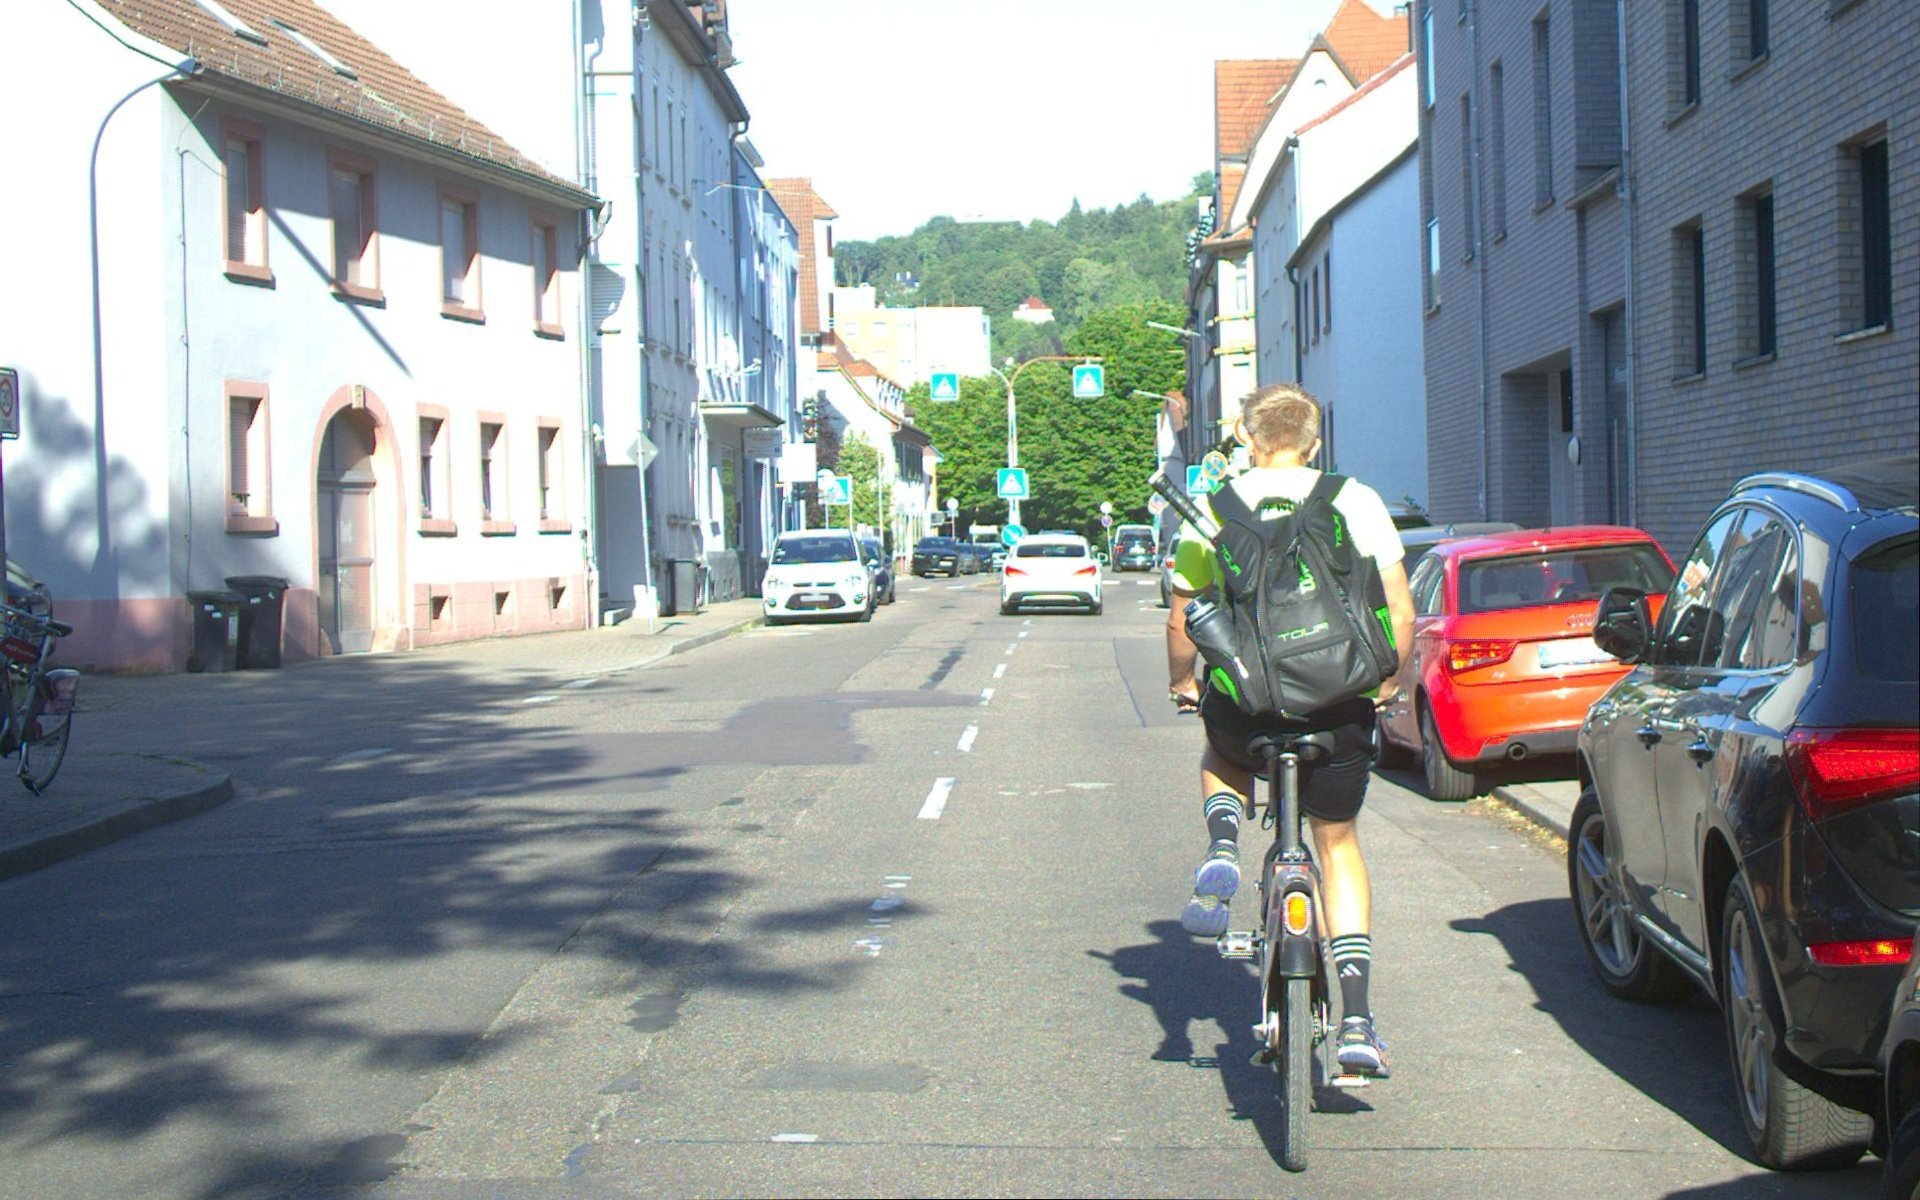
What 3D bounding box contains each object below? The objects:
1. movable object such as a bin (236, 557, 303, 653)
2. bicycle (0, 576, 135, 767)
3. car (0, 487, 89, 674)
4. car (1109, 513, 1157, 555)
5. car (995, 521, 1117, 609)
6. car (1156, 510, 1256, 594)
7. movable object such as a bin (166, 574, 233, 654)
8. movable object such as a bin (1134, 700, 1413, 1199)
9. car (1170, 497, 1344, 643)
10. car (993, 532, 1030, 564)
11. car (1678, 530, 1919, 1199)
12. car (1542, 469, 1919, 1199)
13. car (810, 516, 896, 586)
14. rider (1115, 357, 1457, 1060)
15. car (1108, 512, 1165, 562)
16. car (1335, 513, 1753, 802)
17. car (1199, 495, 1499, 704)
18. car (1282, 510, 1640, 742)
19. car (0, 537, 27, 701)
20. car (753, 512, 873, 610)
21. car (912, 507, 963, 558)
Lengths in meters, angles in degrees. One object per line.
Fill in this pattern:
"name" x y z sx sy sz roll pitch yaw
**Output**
"movable object such as a bin" -7.916 0.051 39.434 0.598 1.090 0.751 0 1 2
"bicycle" -5.335 0.378 19.505 0.704 0.999 1.941 0 1 4
"car" -11.575 -0.309 35.936 4.363 1.788 1.988 3 4 3
"car" 7.197 -2.764 142.543 1.818 1.625 4.000 -2 2 4
"car" 1.670 -0.636 60.926 1.993 1.461 4.000 -1 1 -1
"car" 4.728 -0.946 66.469 1.741 1.487 4.439 -2 1 3
"movable object such as a bin" -8.522 0.148 38.543 0.598 0.869 0.606 -1 1 0
"movable object such as a bin" 0.722 0.791 8.330 0.454 1.029 1.840 2 0 -1
"car" 3.670 -0.427 43.106 1.855 1.630 4.623 -3 2 2
"car" 2.872 -2.934 194.167 1.807 1.695 4.192 -3 1 -2
"car" 2.124 0.647 3.547 1.816 1.461 4.270 -1 1 -1
"car" 2.758 0.490 9.522 1.890 1.706 4.773 -1 2 5
"car" -2.372 -1.088 77.141 1.731 1.494 3.959 -1 1 1
"rider" 0.756 0.244 8.259 0.653 1.556 1.083 2 0 -1
"car" 6.705 -2.411 131.194 2.011 1.846 4.000 0 2 1
"car" 3.297 0.256 20.136 1.712 1.399 4.073 -4 1 1
"car" 3.315 -0.074 30.202 1.993 1.647 4.763 -1 2 -1
"car" 3.541 0.117 25.089 1.993 1.500 4.367 -1 2 1
"car" -10.934 0.243 32.205 3.768 1.524 2.000 -2 2 2
"car" -2.548 -0.720 60.599 1.993 1.642 5.222 0 1 -1
"car" -0.867 -2.698 136.906 1.993 2.007 4.000 0 1 0
